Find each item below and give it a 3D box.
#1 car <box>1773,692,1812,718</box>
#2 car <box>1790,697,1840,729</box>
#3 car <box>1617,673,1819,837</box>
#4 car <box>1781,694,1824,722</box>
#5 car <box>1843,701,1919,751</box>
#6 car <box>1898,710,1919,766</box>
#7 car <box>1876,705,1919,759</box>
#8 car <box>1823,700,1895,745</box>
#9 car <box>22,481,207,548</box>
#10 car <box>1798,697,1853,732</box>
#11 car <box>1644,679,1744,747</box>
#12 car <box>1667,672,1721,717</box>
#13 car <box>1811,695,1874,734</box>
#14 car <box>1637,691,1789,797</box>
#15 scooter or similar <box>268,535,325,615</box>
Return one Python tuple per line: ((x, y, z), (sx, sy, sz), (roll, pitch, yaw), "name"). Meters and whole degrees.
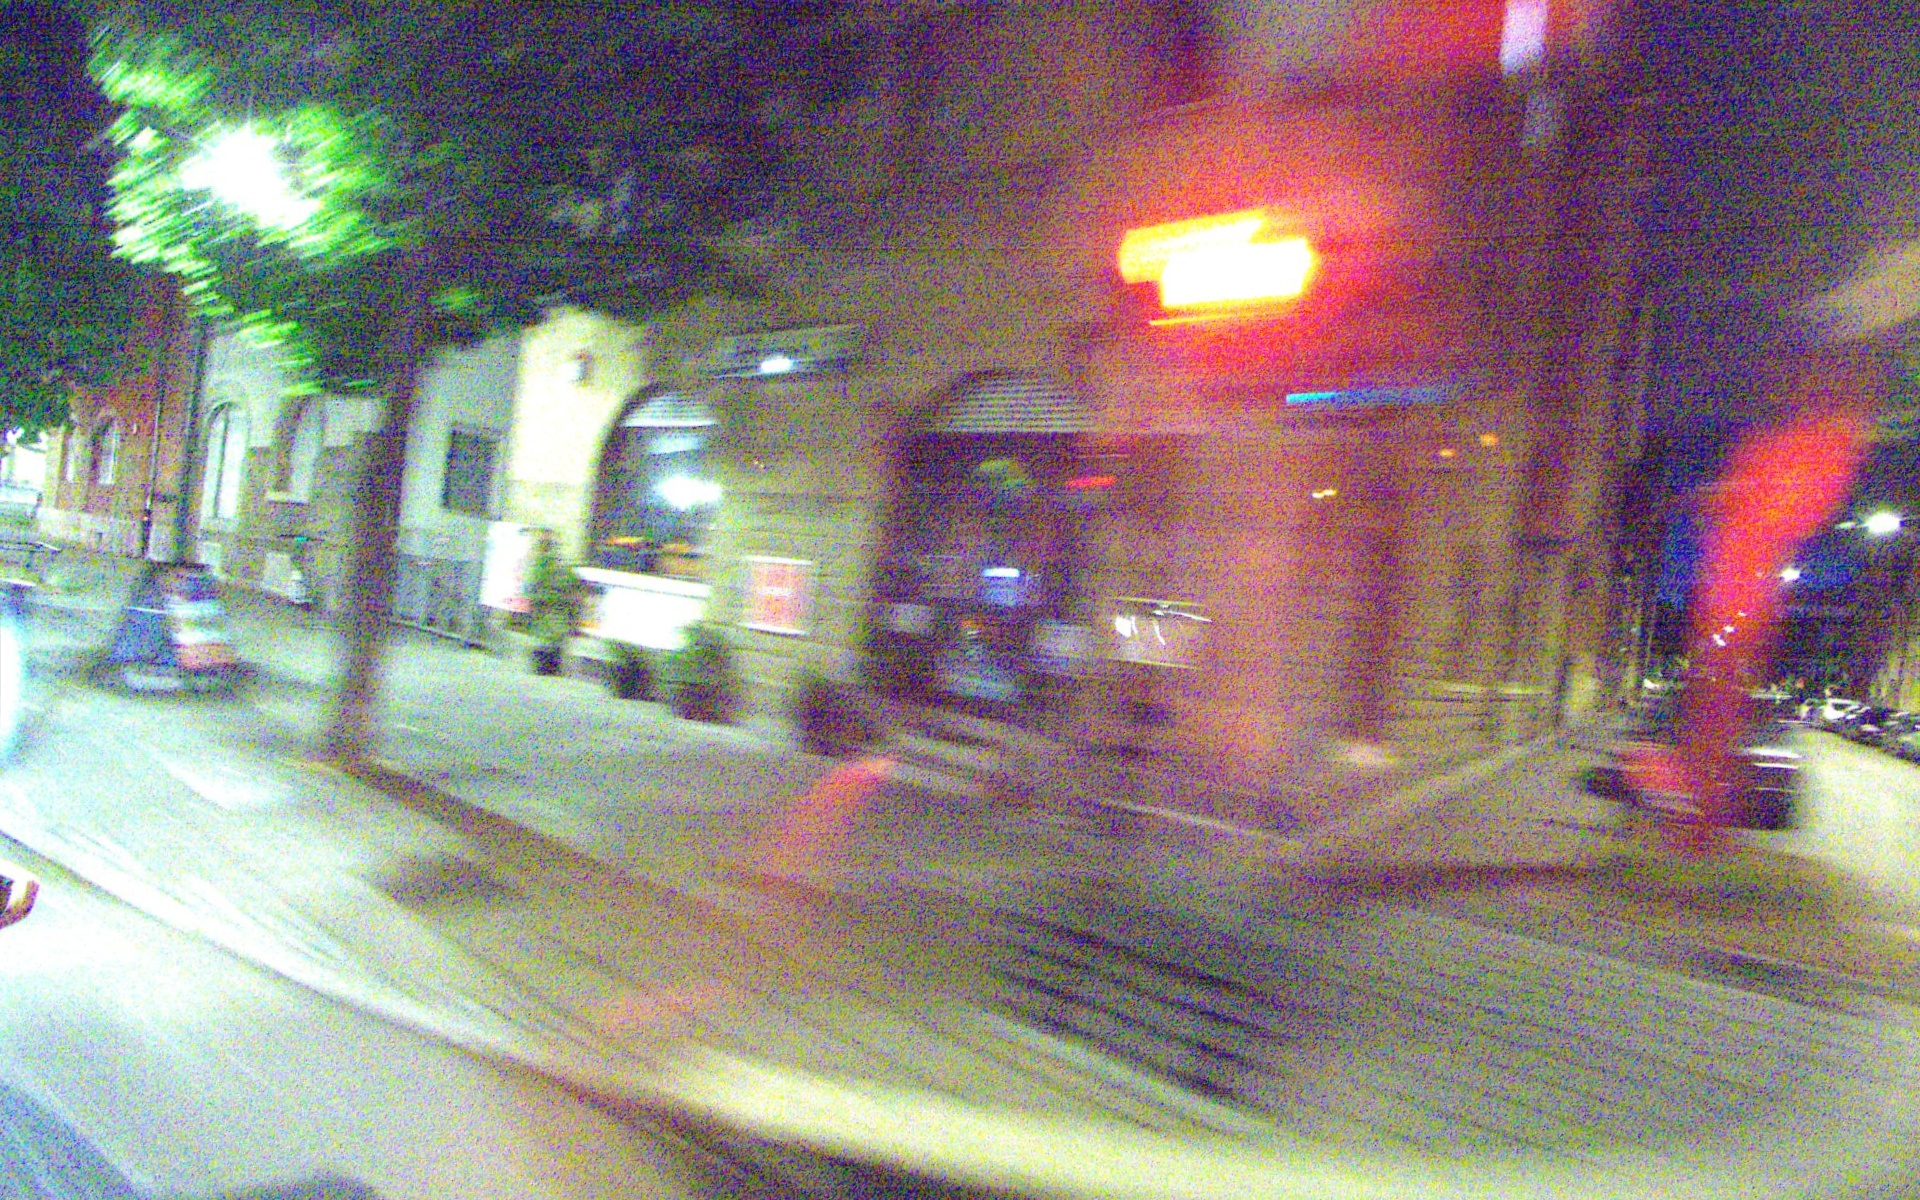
((58.078, 7.287, 70.207), (1.715, 1.504, 3.764), (7, 0, 36), "car")
((48.284, 6.343, 56.846), (1.715, 1.504, 3.764), (7, 0, 36), "car")
((10.172, 1.961, 13.628), (1.840, 1.713, 3.987), (3, -2, 36), "car")
((53.305, 6.825, 63.696), (1.715, 1.504, 3.764), (7, 0, 36), "car")
((34.376, 4.647, 37.479), (1.715, 1.504, 3.764), (7, 0, 36), "car")
((27.421, 3.920, 27.719), (1.715, 1.504, 3.764), (7, 0, 36), "car")
((29.949, 4.147, 31.208), (1.715, 1.504, 3.764), (7, 0, 36), "car")
((37.458, 5.071, 41.988), (1.715, 1.504, 3.764), (7, 0, 36), "car")
((-27.599, -2.769, 32.955), (1.765, 1.478, 4.417), (9, 1, 43), "car")
((44.389, 5.852, 51.656), (1.715, 1.504, 3.764), (7, 0, 36), "car")
((18.917, 2.884, 25.971), (1.873, 1.444, 3.987), (3, -3, 36), "car")
((34.025, 4.376, 46.647), (1.873, 1.829, 3.987), (3, -2, 36), "car")
((41.502, 5.359, 47.378), (1.715, 1.504, 3.764), (7, 0, 36), "car")
((13.099, 2.422, 17.609), (1.873, 1.444, 3.987), (3, -3, 36), "car")
((-10.653, -0.421, 16.136), (0.420, 1.145, 1.474), (5, 2, -44), "scooter or similar")
